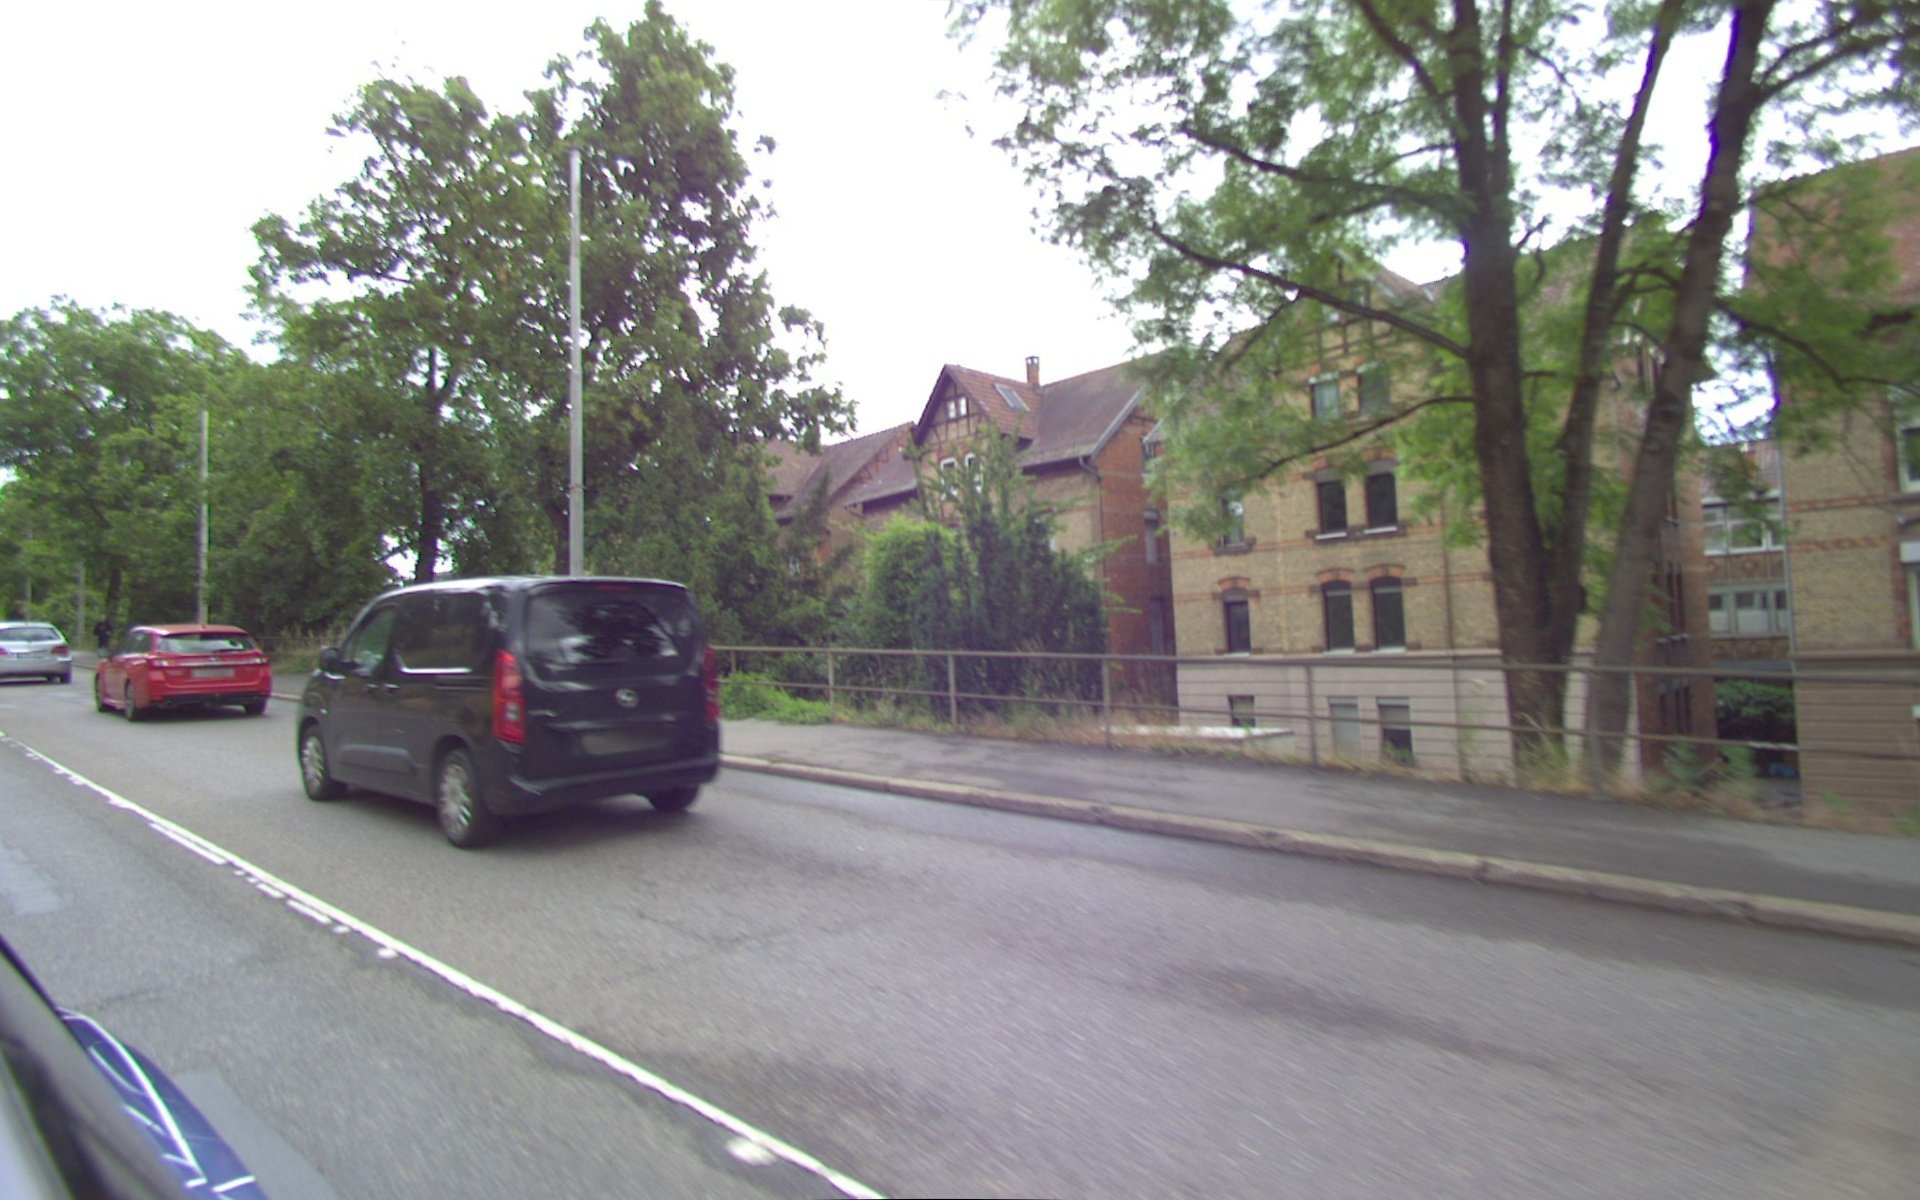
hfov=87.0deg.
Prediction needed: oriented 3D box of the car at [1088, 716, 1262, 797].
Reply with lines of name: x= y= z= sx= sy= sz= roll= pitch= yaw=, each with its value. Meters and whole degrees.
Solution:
car: x=5.341 y=3.853 z=25.469 sx=1.772 sy=1.522 sz=4.005 roll=0 pitch=-2 yaw=-42

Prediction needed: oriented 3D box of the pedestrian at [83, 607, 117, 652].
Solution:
pedestrian: x=-36.042 y=1.239 z=42.419 sx=1.208 sy=1.787 sz=0.781 roll=-2 pitch=2 yaw=39

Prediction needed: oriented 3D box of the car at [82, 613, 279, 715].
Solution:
car: x=-12.965 y=0.965 z=16.741 sx=4.427 sy=1.470 sz=1.765 roll=-1 pitch=-2 yaw=41

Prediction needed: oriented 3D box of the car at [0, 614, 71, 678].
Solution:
car: x=-24.958 y=1.164 z=26.667 sx=4.279 sy=1.586 sz=1.765 roll=-1 pitch=-2 yaw=41

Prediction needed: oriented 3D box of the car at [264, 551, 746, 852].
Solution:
car: x=-3.790 y=0.634 z=8.034 sx=4.425 sy=1.759 sz=1.765 roll=-1 pitch=-2 yaw=40

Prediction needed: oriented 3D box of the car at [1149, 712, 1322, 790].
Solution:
car: x=7.068 y=3.828 z=26.245 sx=1.772 sy=1.522 sz=4.005 roll=0 pitch=-2 yaw=-42
